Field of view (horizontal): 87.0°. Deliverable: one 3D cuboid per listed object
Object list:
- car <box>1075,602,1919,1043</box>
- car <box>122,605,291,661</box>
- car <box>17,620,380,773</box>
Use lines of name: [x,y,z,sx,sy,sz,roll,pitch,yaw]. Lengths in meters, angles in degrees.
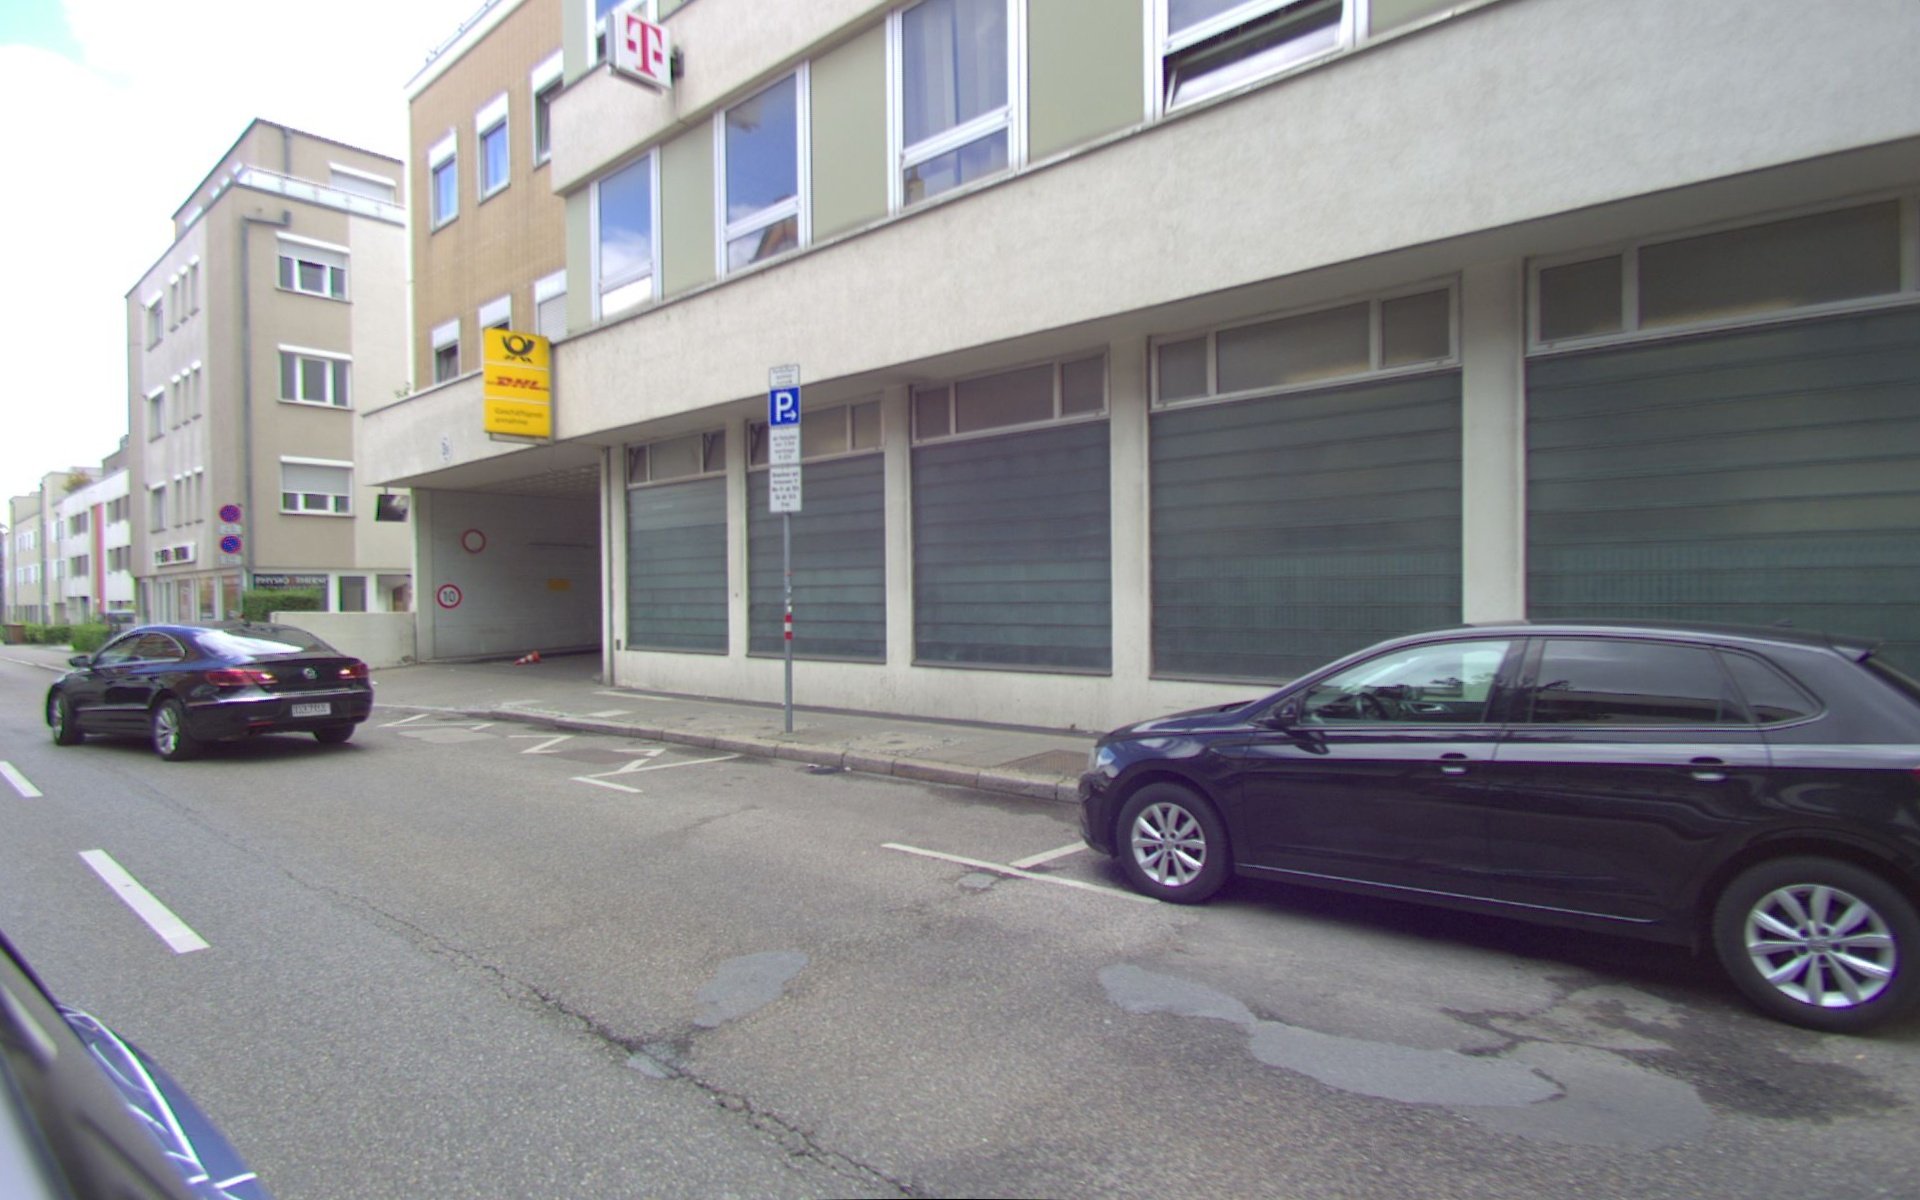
car: [2.632,0.759,4.839,3.867,1.436,1.699,-1,-2,40]
car: [-29.273,1.223,39.444,1.967,2.013,5.014,-1,-1,44]
car: [-8.677,0.956,11.438,4.435,1.409,1.641,-1,0,29]
